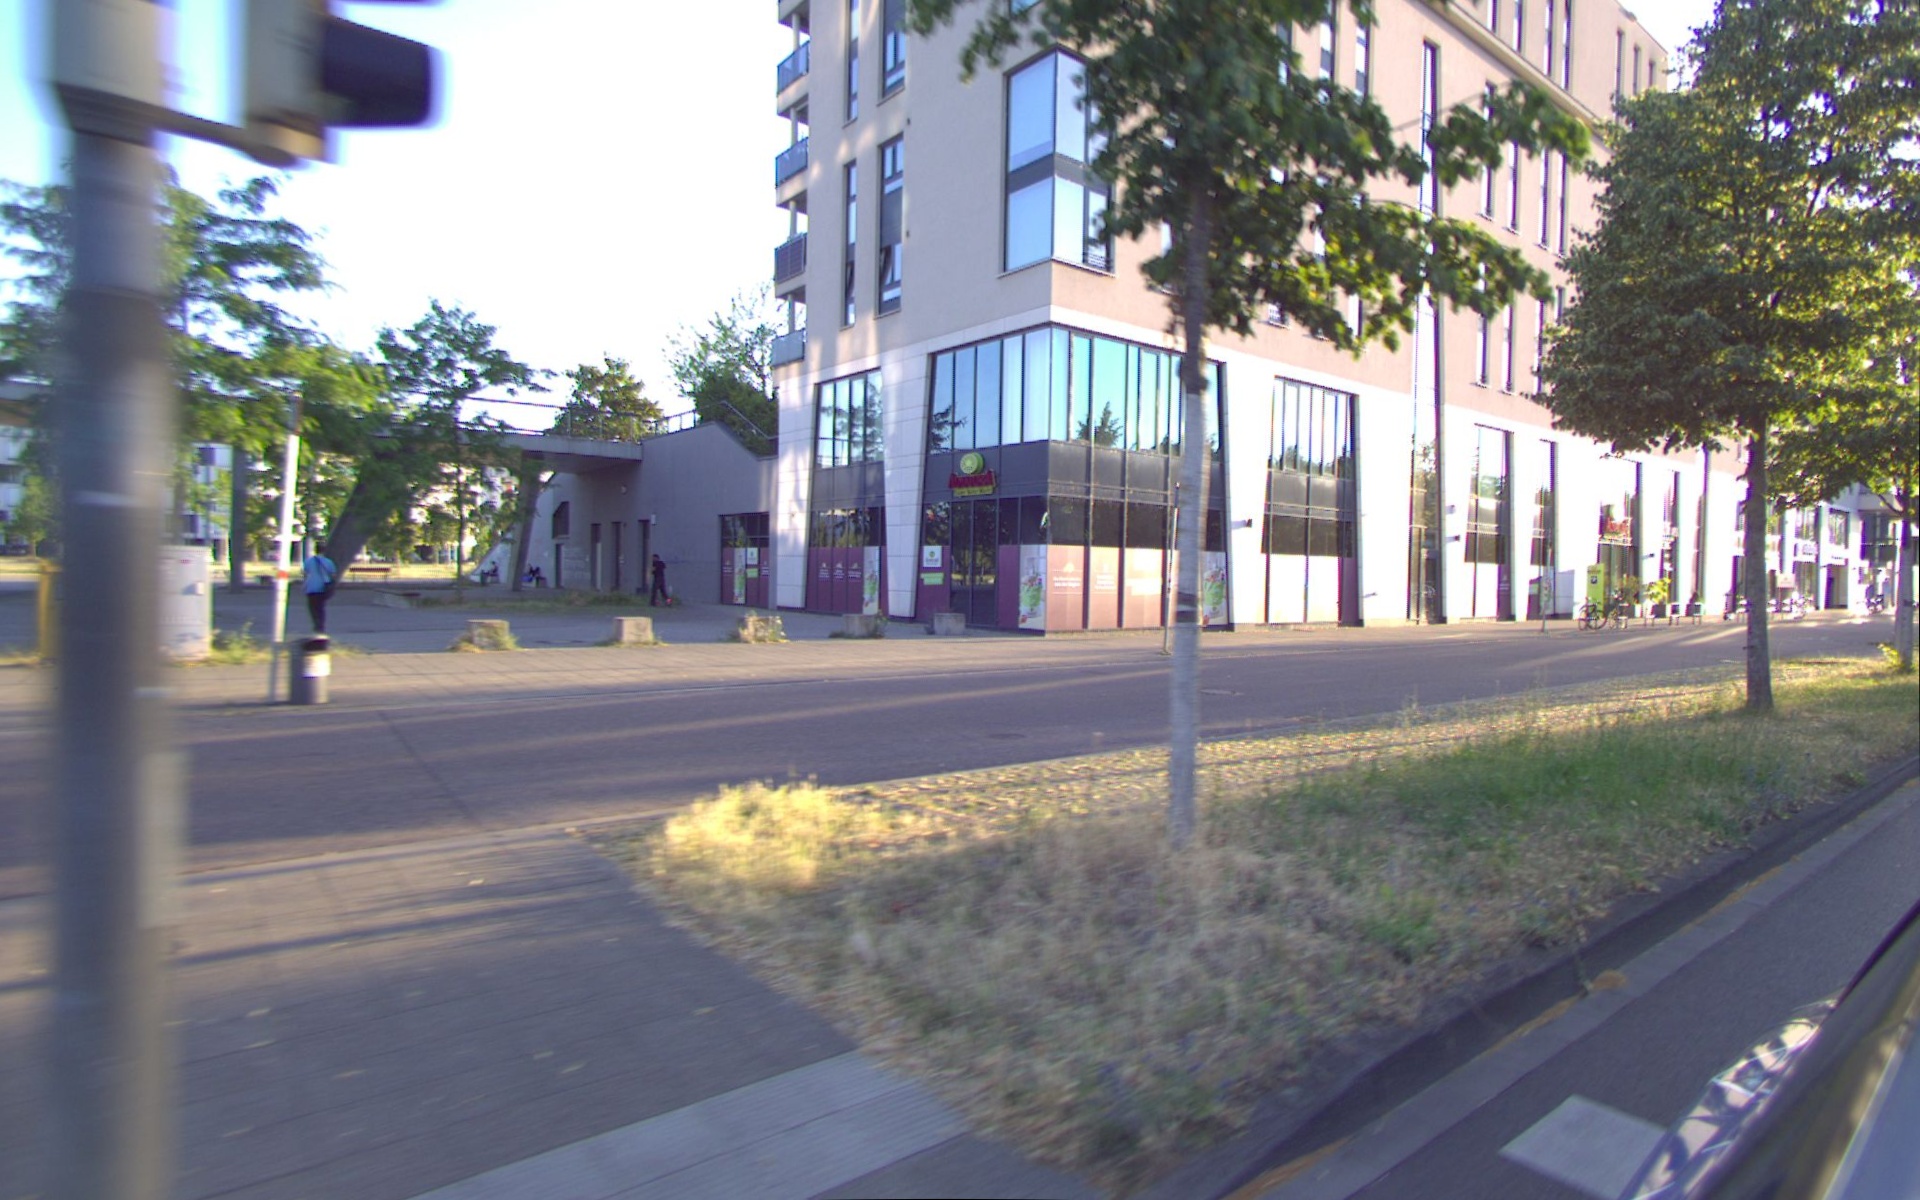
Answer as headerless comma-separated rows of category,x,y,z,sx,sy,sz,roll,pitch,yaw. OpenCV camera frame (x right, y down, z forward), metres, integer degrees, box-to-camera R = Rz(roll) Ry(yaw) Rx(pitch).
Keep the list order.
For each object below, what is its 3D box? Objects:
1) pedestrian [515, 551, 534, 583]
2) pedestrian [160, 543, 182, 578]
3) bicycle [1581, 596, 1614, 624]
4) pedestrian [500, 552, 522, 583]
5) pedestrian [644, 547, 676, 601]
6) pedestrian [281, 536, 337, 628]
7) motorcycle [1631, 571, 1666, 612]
pedestrian,-22.411,-1.691,52.131,0.782,1.614,0.718,0,1,-33
pedestrian,-46.531,-2.333,59.704,0.997,2.038,1.143,0,1,-36
bicycle,20.884,0.318,33.185,0.539,0.872,1.568,1,2,18
pedestrian,-23.587,-1.696,53.148,0.710,1.614,0.791,2,1,26
pedestrian,-9.617,-0.841,32.383,0.751,1.703,0.767,0,1,-37
pedestrian,-13.583,-0.377,21.116,0.825,1.867,0.896,0,2,-45
motorcycle,30.009,-0.386,44.101,2.085,1.720,0.690,0,2,-39
